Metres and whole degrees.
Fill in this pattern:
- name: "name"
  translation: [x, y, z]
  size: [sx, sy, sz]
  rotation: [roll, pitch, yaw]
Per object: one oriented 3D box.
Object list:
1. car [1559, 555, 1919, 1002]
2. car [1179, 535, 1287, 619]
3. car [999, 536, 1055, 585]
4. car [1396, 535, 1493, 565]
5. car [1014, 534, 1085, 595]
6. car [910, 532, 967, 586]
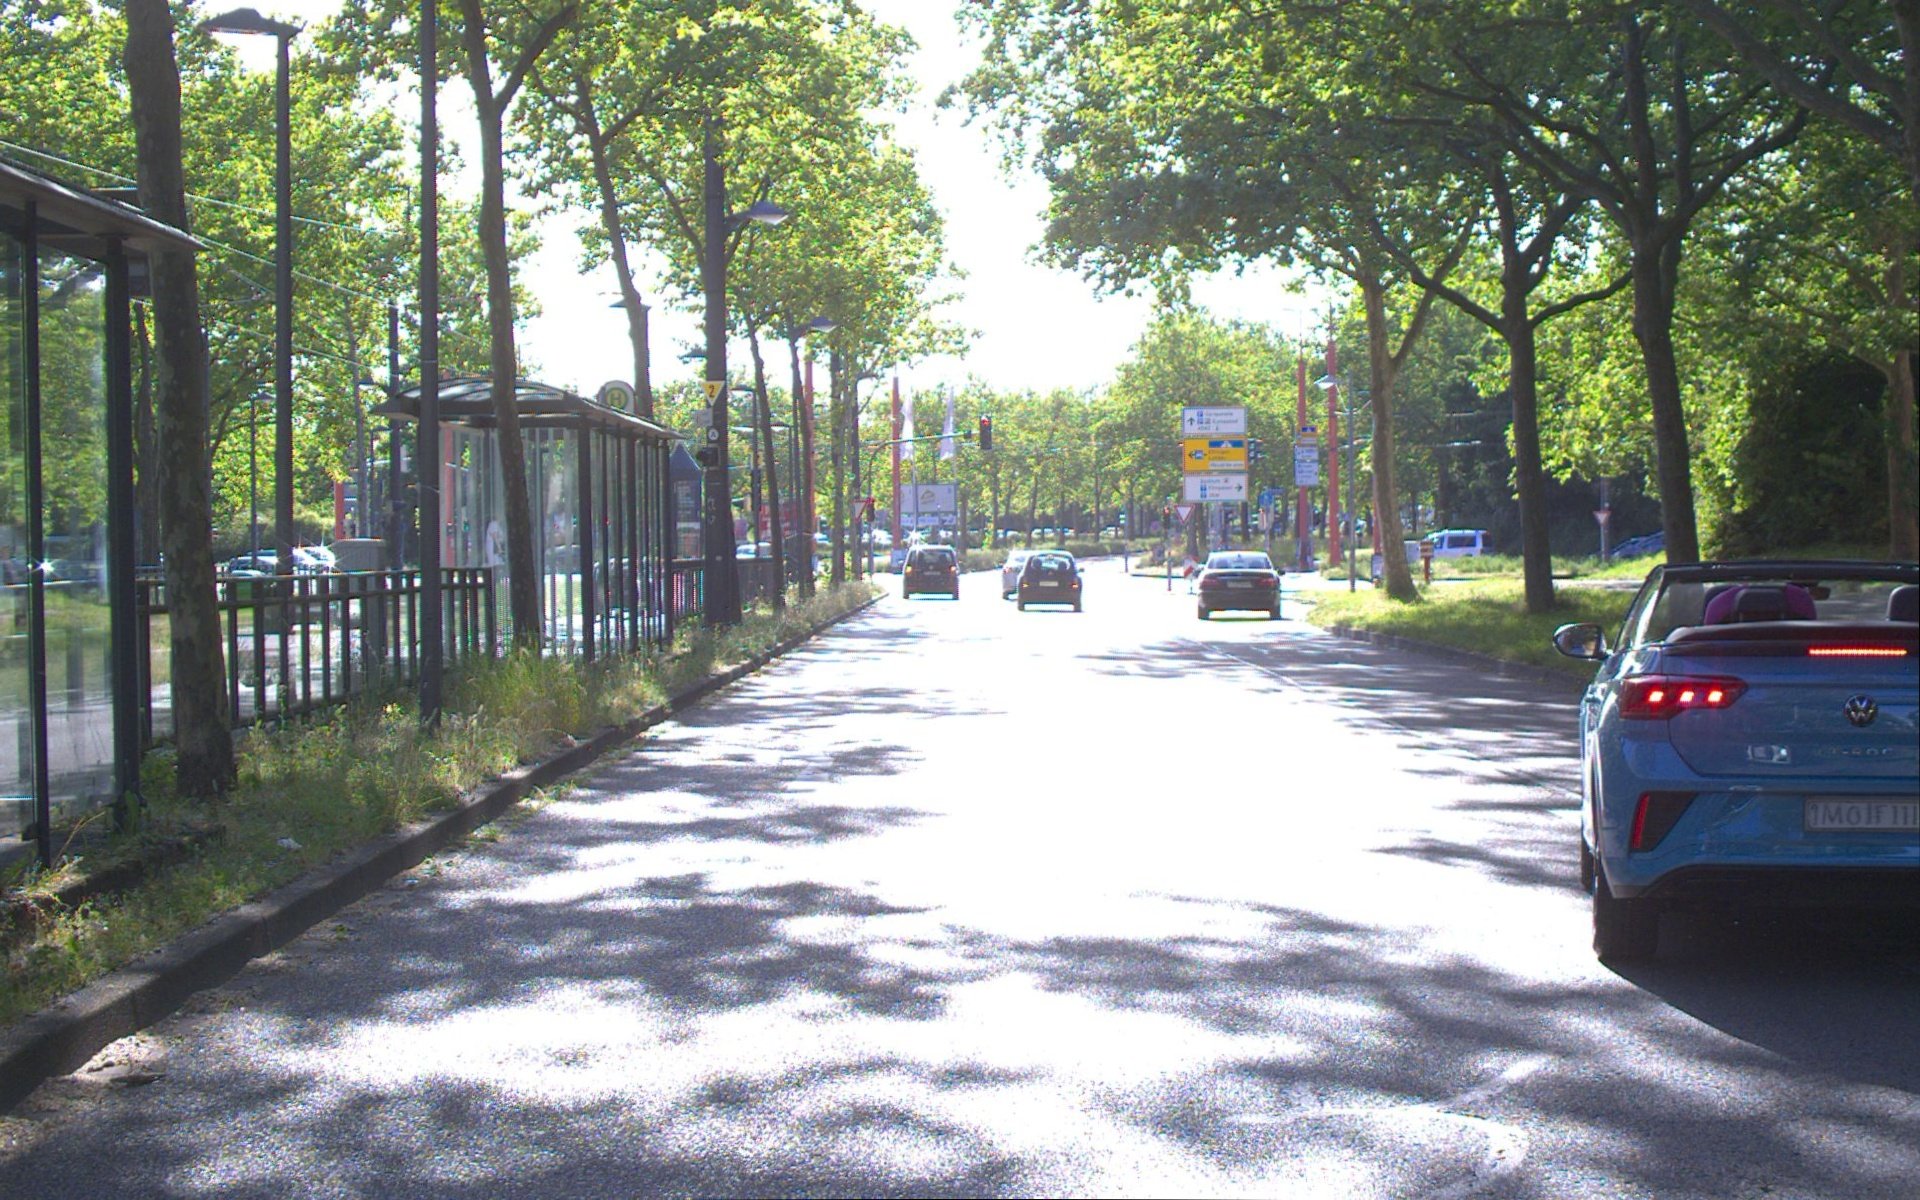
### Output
- name: "car"
  translation: [3.321, 0.576, 13.603]
  size: [1.776, 1.478, 4.099]
  rotation: [1, 1, 9]
- name: "car"
  translation: [6.014, -0.525, 76.180]
  size: [1.982, 1.786, 4.614]
  rotation: [0, 1, 0]
- name: "car"
  translation: [2.060, -1.221, 105.876]
  size: [1.678, 1.470, 4.131]
  rotation: [0, 1, 1]
- name: "car"
  translation: [21.819, -2.258, 154.855]
  size: [3.992, 1.333, 1.726]
  rotation: [1, 1, 26]
- name: "car"
  translation: [2.269, -0.918, 87.759]
  size: [1.639, 1.489, 3.504]
  rotation: [0, 2, -1]
- name: "car"
  translation: [-0.674, -1.259, 105.229]
  size: [1.710, 1.598, 3.350]
  rotation: [0, 1, -1]
